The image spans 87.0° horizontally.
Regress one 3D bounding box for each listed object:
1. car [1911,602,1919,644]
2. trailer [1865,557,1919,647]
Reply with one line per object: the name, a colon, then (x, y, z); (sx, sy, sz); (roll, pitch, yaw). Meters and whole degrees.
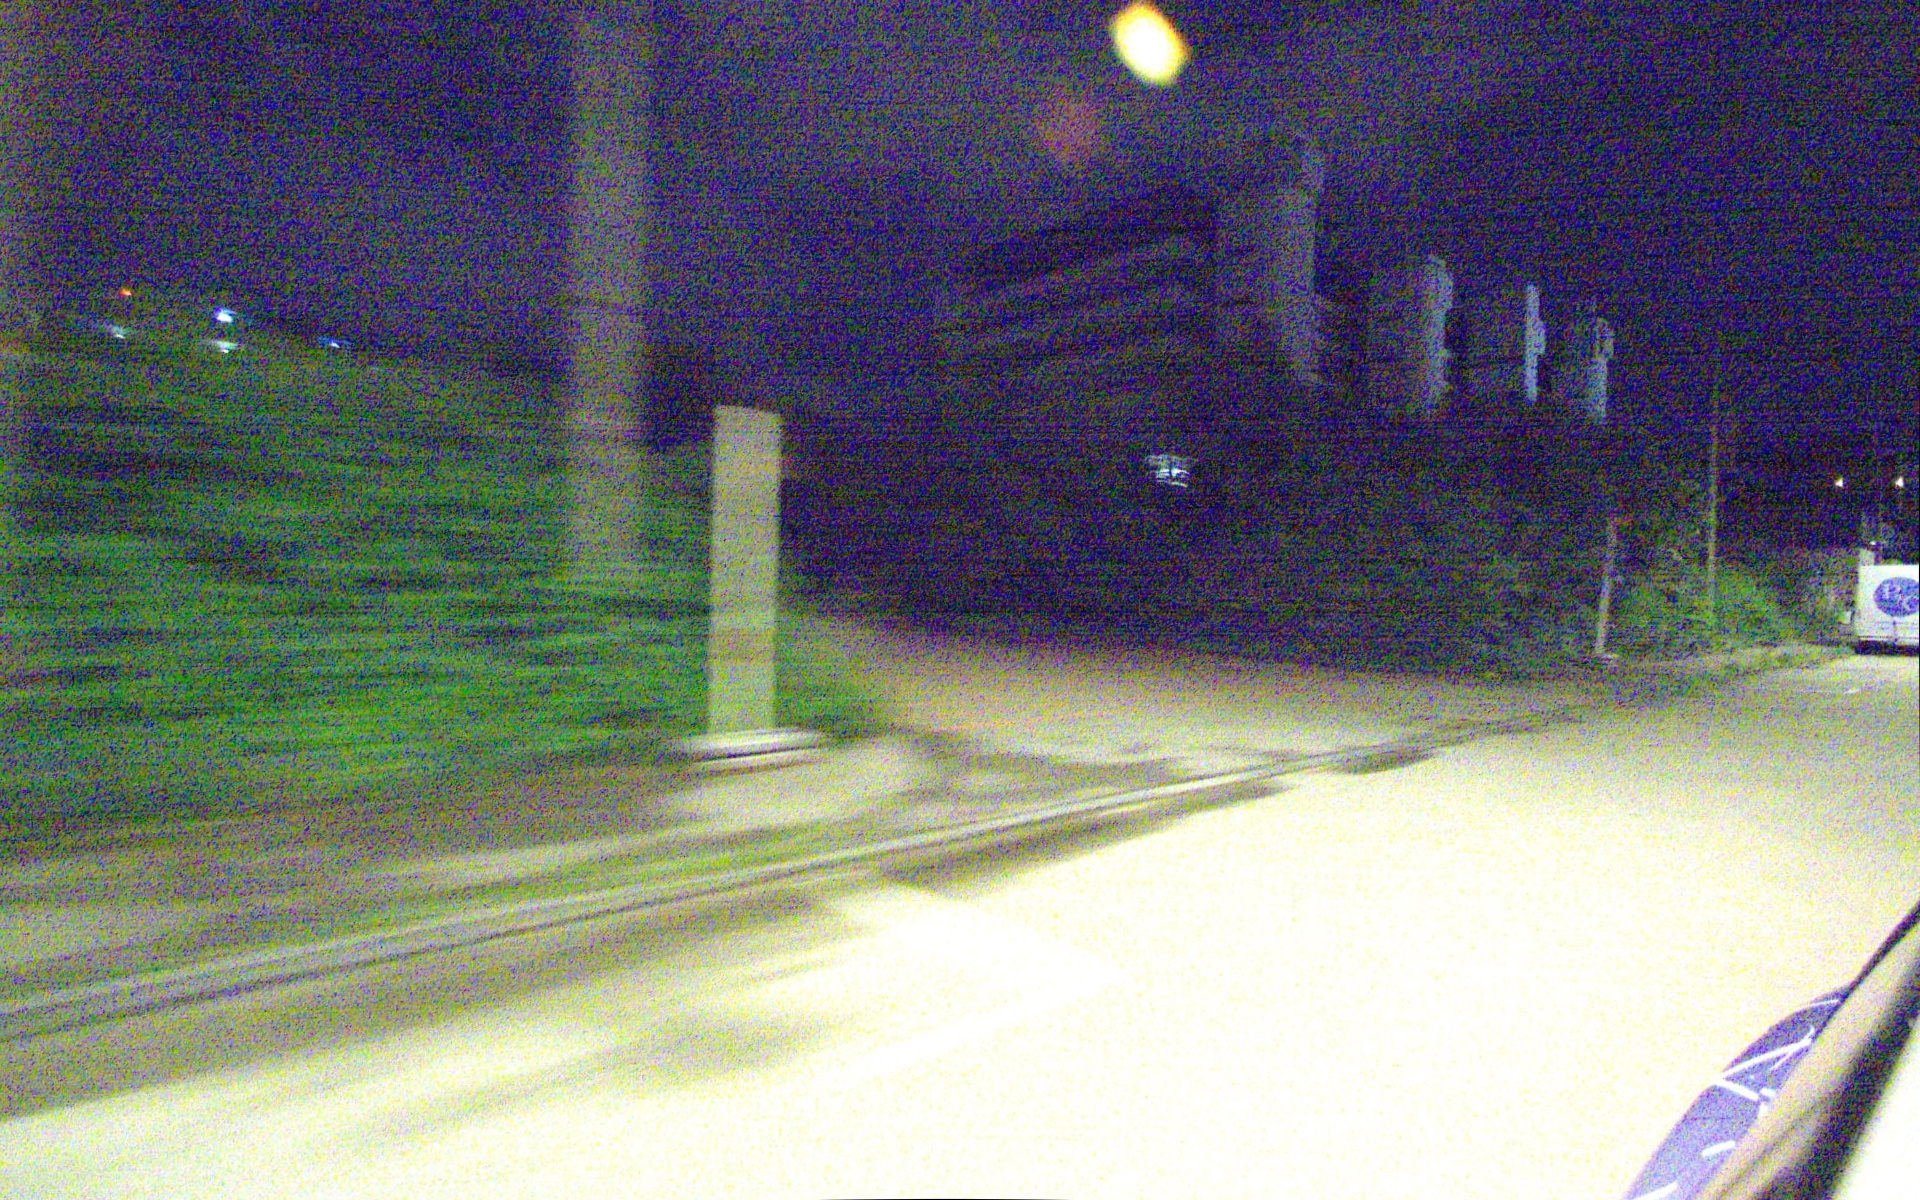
car: (34.931, 0.819, 35.704); (4.597, 1.404, 1.728); (1, 0, -43)
trailer: (29.861, 0.071, 31.407); (3.927, 2.684, 1.998); (1, 0, -39)
